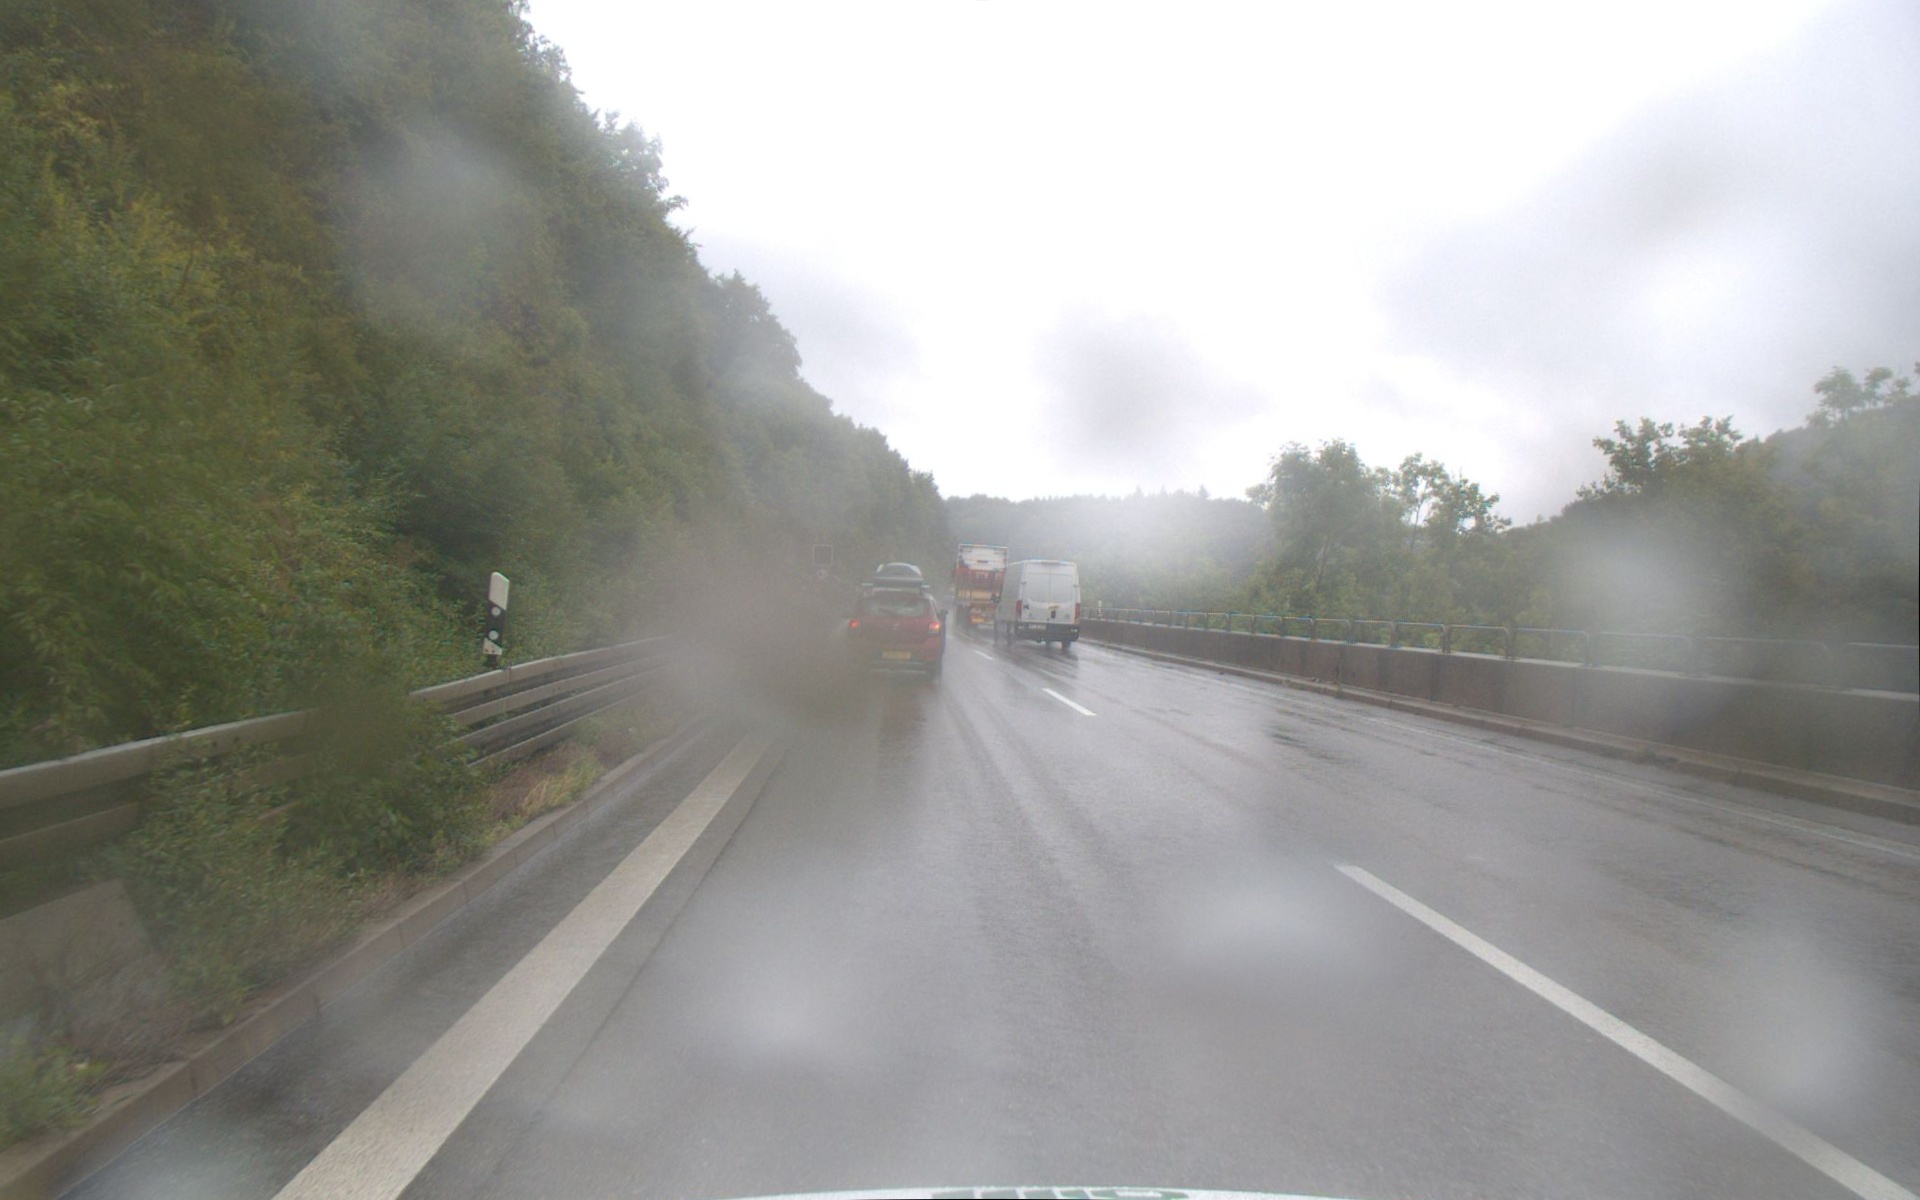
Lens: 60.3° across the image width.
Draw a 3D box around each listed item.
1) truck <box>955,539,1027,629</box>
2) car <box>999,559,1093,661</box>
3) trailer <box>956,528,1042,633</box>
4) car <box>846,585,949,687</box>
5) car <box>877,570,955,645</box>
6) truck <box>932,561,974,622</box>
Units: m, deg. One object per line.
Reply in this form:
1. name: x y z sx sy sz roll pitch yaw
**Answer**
1. truck: 1.446 -0.755 79.827 3.154 4.047 5.437 2 0 -1
2. car: 2.600 0.281 51.859 2.162 2.842 7.379 4 0 -2
3. trailer: 1.529 -0.758 72.849 3.153 4.068 13.521 2 0 -1
4. car: -1.149 0.620 29.831 1.723 1.714 3.998 0 0 -3
5. car: -1.120 0.193 40.477 1.796 1.745 3.642 0 0 -3
6. truck: -0.620 -0.615 132.849 3.158 4.764 8.296 0 -1 -2
